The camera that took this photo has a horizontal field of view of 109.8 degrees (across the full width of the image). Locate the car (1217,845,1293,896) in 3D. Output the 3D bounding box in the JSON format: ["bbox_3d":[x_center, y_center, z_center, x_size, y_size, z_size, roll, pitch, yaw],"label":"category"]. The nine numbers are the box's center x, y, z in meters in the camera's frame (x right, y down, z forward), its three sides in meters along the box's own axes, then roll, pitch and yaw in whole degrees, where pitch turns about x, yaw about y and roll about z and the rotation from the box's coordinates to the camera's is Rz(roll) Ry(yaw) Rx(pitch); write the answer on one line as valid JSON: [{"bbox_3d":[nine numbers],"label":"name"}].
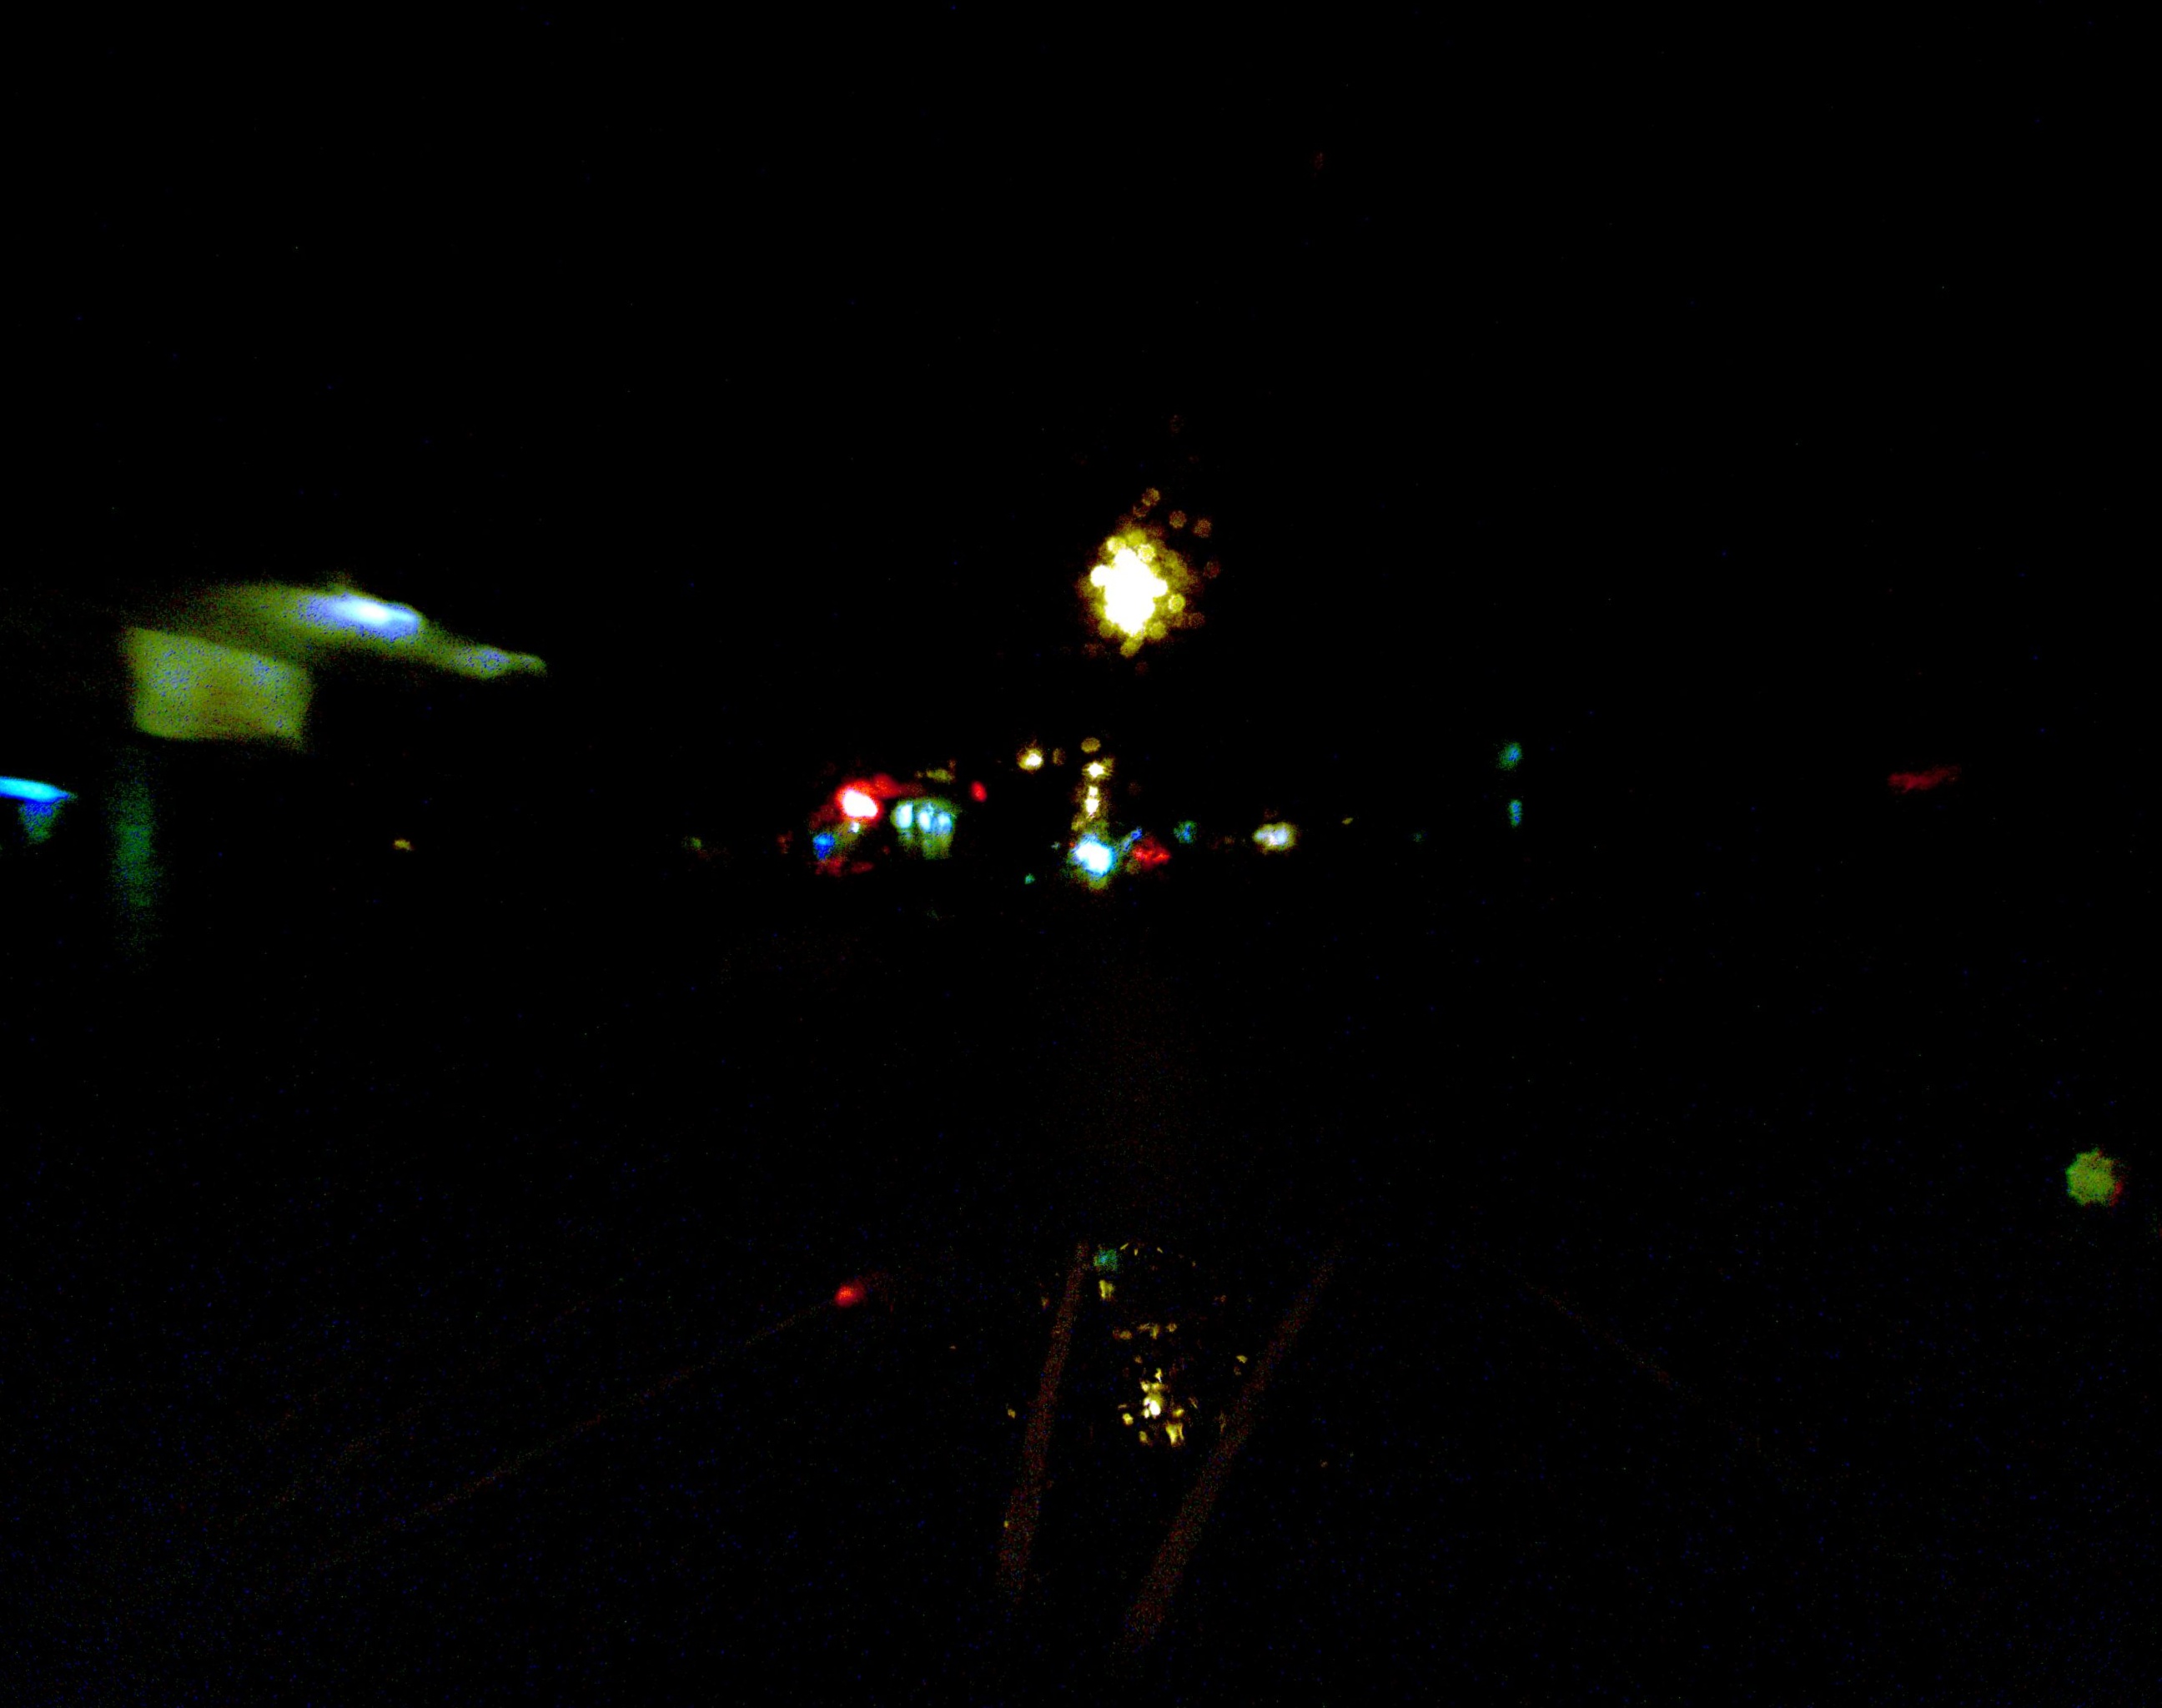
[{"bbox_3d":[5.611,0.518,24.983,1.697,1.470,3.963,-2,0,2],"label":"car"}]

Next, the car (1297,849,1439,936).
[{"bbox_3d":[5.422,0.649,14.773,1.531,1.445,3.383,-2,1,1],"label":"car"}]

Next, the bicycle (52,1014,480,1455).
[{"bbox_3d":[-3.253,1.242,2.957,2.267,0.889,0.619,0,1,30],"label":"bicycle"}]

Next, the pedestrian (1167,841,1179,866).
[{"bbox_3d":[7.738,-0.026,63.901,0.776,2.002,0.587,-4,2,1],"label":"pedestrian"}]

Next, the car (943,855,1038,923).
[{"bbox_3d":[-2.199,0.804,19.581,1.846,1.498,4.162,-1,1,1],"label":"car"}]

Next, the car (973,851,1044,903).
[{"bbox_3d":[-2.314,0.699,25.292,1.846,1.498,4.162,-1,1,1],"label":"car"}]

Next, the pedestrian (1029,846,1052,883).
[{"bbox_3d":[-1.901,0.469,35.400,1.007,1.698,0.614,-1,1,1],"label":"pedestrian"}]

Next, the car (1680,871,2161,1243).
[{"bbox_3d":[5.264,0.867,3.339,1.731,1.384,4.555,-2,1,1],"label":"car"}]

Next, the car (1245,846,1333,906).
[{"bbox_3d":[5.633,0.566,20.952,1.696,1.470,3.385,-2,0,5],"label":"car"}]

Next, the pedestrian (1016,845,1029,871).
[{"bbox_3d":[-4.298,0.290,56.212,0.776,1.890,0.777,-4,2,1],"label":"pedestrian"}]

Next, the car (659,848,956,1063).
[{"bbox_3d":[-2.538,0.815,8.104,1.676,1.712,3.856,-1,1,1],"label":"car"}]

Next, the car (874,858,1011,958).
[{"bbox_3d":[-2.407,0.883,14.226,1.689,1.498,4.162,-1,1,1],"label":"car"}]

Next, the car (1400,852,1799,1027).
[{"bbox_3d":[5.415,0.743,8.754,1.731,1.445,4.272,-2,1,1],"label":"car"}]

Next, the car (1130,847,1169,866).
[{"bbox_3d":[5.180,0.219,58.192,1.879,1.386,4.069,-2,0,-11],"label":"car"}]

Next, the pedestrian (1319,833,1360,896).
[{"bbox_3d":[7.631,0.305,22.447,0.912,1.778,0.629,-4,2,2],"label":"pedestrian"}]
